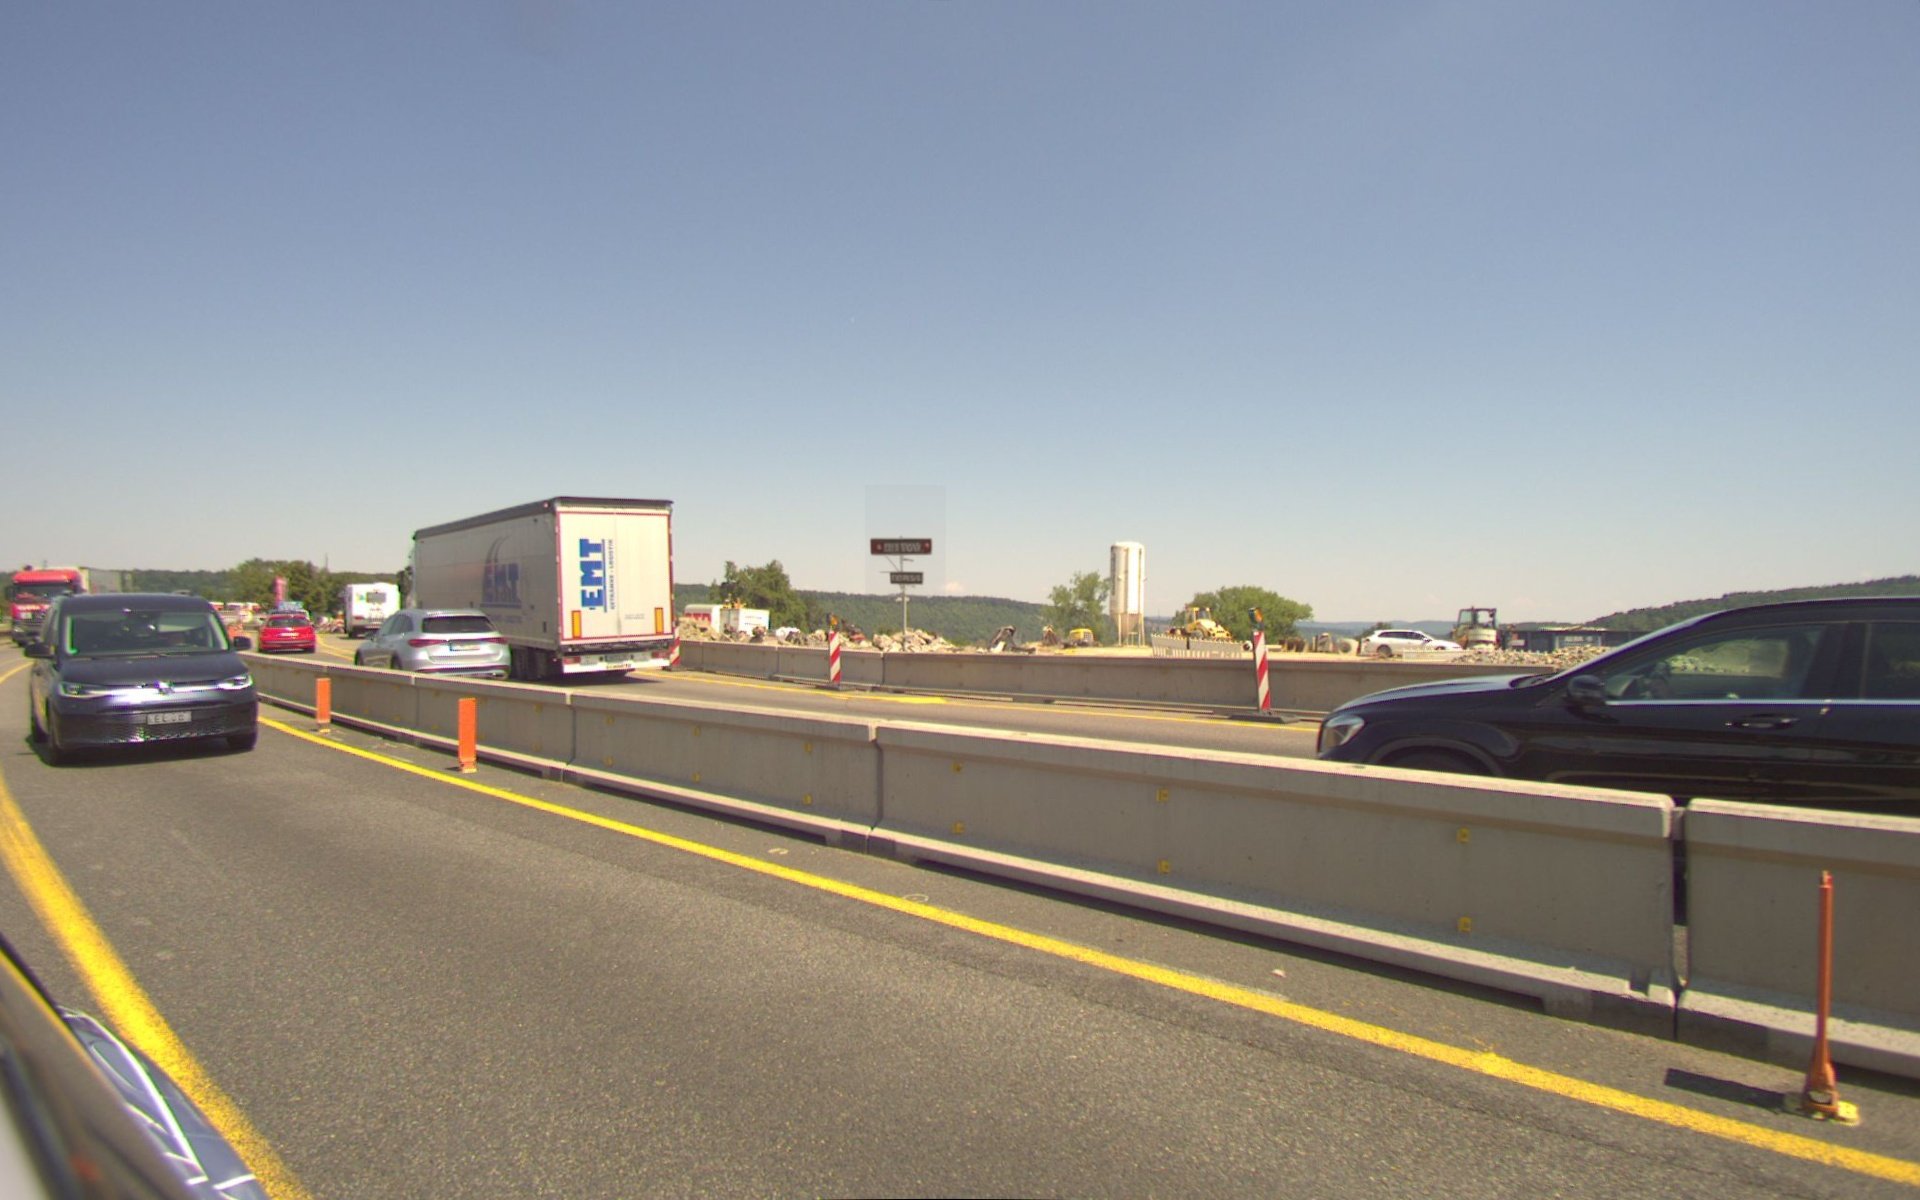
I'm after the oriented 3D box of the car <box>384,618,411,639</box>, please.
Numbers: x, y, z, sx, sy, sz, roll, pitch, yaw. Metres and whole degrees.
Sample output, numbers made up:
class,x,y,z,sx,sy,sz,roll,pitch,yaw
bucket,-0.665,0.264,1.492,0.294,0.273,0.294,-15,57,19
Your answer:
class,x,y,z,sx,sy,sz,roll,pitch,yaw
car,-44.484,2.249,79.980,1.696,1.640,4.348,1,-2,-32

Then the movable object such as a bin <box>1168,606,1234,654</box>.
class,x,y,z,sx,sy,sz,roll,pitch,yaw
movable object such as a bin,16.610,2.056,70.019,1.965,3.165,4.500,1,-2,-27

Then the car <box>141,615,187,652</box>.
class,x,y,z,sx,sy,sz,roll,pitch,yaw
car,-40.868,1.713,51.935,1.771,1.800,4.007,1,-2,-39

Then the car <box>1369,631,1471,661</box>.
class,x,y,z,sx,sy,sz,roll,pitch,yaw
car,23.221,2.307,51.149,4.438,1.420,1.597,-1,-2,36

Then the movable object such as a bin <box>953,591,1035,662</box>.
class,x,y,z,sx,sy,sz,roll,pitch,yaw
movable object such as a bin,1.530,1.217,47.090,1.965,3.165,4.291,1,-2,-27

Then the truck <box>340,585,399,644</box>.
class,x,y,z,sx,sy,sz,roll,pitch,yaw
truck,-33.460,0.844,57.223,2.408,3.095,7.267,1,-2,-34

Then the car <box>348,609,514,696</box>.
class,x,y,z,sx,sy,sz,roll,pitch,yaw
car,-10.386,0.950,19.677,1.773,1.487,4.784,1,-2,-41

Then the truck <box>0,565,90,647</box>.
class,x,y,z,sx,sy,sz,roll,pitch,yaw
truck,-45.936,0.351,50.933,2.585,3.933,4.947,1,-2,-33

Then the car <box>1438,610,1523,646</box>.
class,x,y,z,sx,sy,sz,roll,pitch,yaw
car,27.956,1.514,54.519,3.979,1.896,1.755,-1,-2,27

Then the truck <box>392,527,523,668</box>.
class,x,y,z,sx,sy,sz,roll,pitch,yaw
truck,-16.077,-0.005,32.227,2.666,4.093,5.512,1,-2,-38

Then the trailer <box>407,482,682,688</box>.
class,x,y,z,sx,sy,sz,roll,pitch,yaw
trailer,-11.551,-0.164,26.650,2.725,4.146,14.002,1,-2,-39

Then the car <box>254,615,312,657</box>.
class,x,y,z,sx,sy,sz,roll,pitch,yaw
car,-25.060,1.319,37.560,1.645,1.487,3.981,1,-2,-32

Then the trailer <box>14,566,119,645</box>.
class,x,y,z,sx,sy,sz,roll,pitch,yaw
trailer,-49.313,0.417,56.190,2.658,3.904,12.455,1,-2,-34

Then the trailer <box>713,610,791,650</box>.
class,x,y,z,sx,sy,sz,roll,pitch,yaw
trailer,-16.237,2.325,79.214,2.879,3.020,5.512,-1,-2,37

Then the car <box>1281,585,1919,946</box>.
class,x,y,z,sx,sy,sz,roll,pitch,yaw
car,4.060,0.672,4.982,4.399,1.425,1.789,-1,-2,43

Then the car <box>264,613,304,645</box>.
class,x,y,z,sx,sy,sz,roll,pitch,yaw
car,-34.952,1.492,52.316,1.638,1.617,4.408,1,-2,-34

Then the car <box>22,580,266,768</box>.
class,x,y,z,sx,sy,sz,roll,pitch,yaw
car,-9.811,0.732,12.011,1.898,1.803,4.607,0,-1,-43

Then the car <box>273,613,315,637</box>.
class,x,y,z,sx,sy,sz,roll,pitch,yaw
car,-56.492,2.150,85.810,4.891,1.968,1.845,-1,-2,43
